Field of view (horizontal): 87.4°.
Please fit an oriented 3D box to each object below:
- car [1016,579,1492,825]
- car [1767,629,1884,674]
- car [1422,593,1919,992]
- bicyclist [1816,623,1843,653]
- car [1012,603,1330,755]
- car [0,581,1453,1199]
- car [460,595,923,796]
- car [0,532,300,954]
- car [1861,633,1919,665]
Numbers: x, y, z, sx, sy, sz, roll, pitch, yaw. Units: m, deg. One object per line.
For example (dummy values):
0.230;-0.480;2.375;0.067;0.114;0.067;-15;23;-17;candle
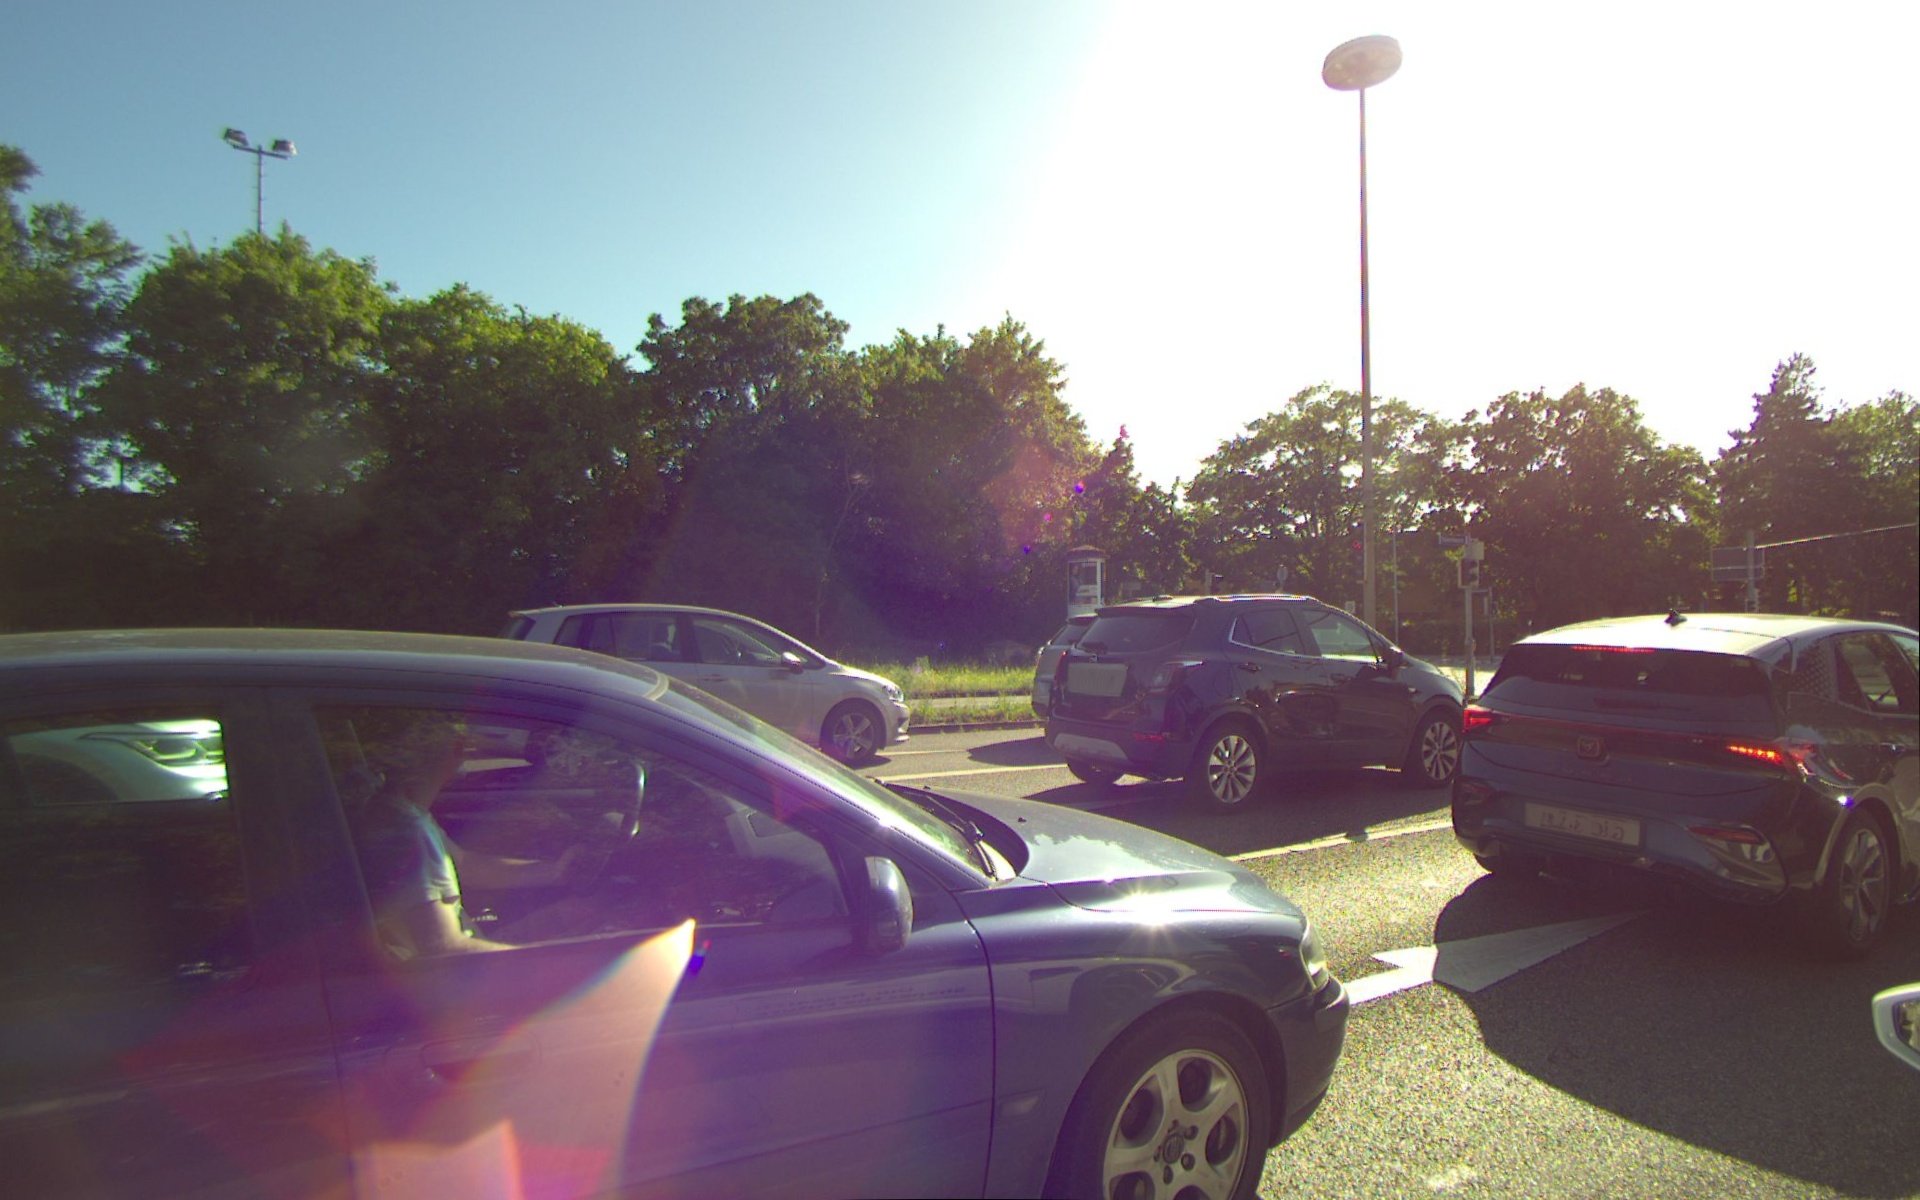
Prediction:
2.620;0.769;8.798;3.953;1.711;1.796;1;-2;-30;car
31.400;1.830;36.435;4.451;1.544;1.880;1;-2;-30;car
4.740;0.828;5.819;4.158;1.601;1.676;2;-1;-30;car
48.934;2.119;56.524;1.187;1.670;0.870;1;-2;-35;bicyclist
2.810;0.953;13.185;3.956;1.724;1.820;1;-2;-32;car
-1.096;0.726;2.204;4.404;1.471;1.767;2;0;-30;car
-2.613;0.836;10.008;4.156;1.632;1.822;1;-2;-30;car
-5.554;0.592;4.331;4.373;1.732;1.984;1;-2;-30;car
46.547;2.414;49.777;3.956;1.529;1.678;1;-2;-30;car
